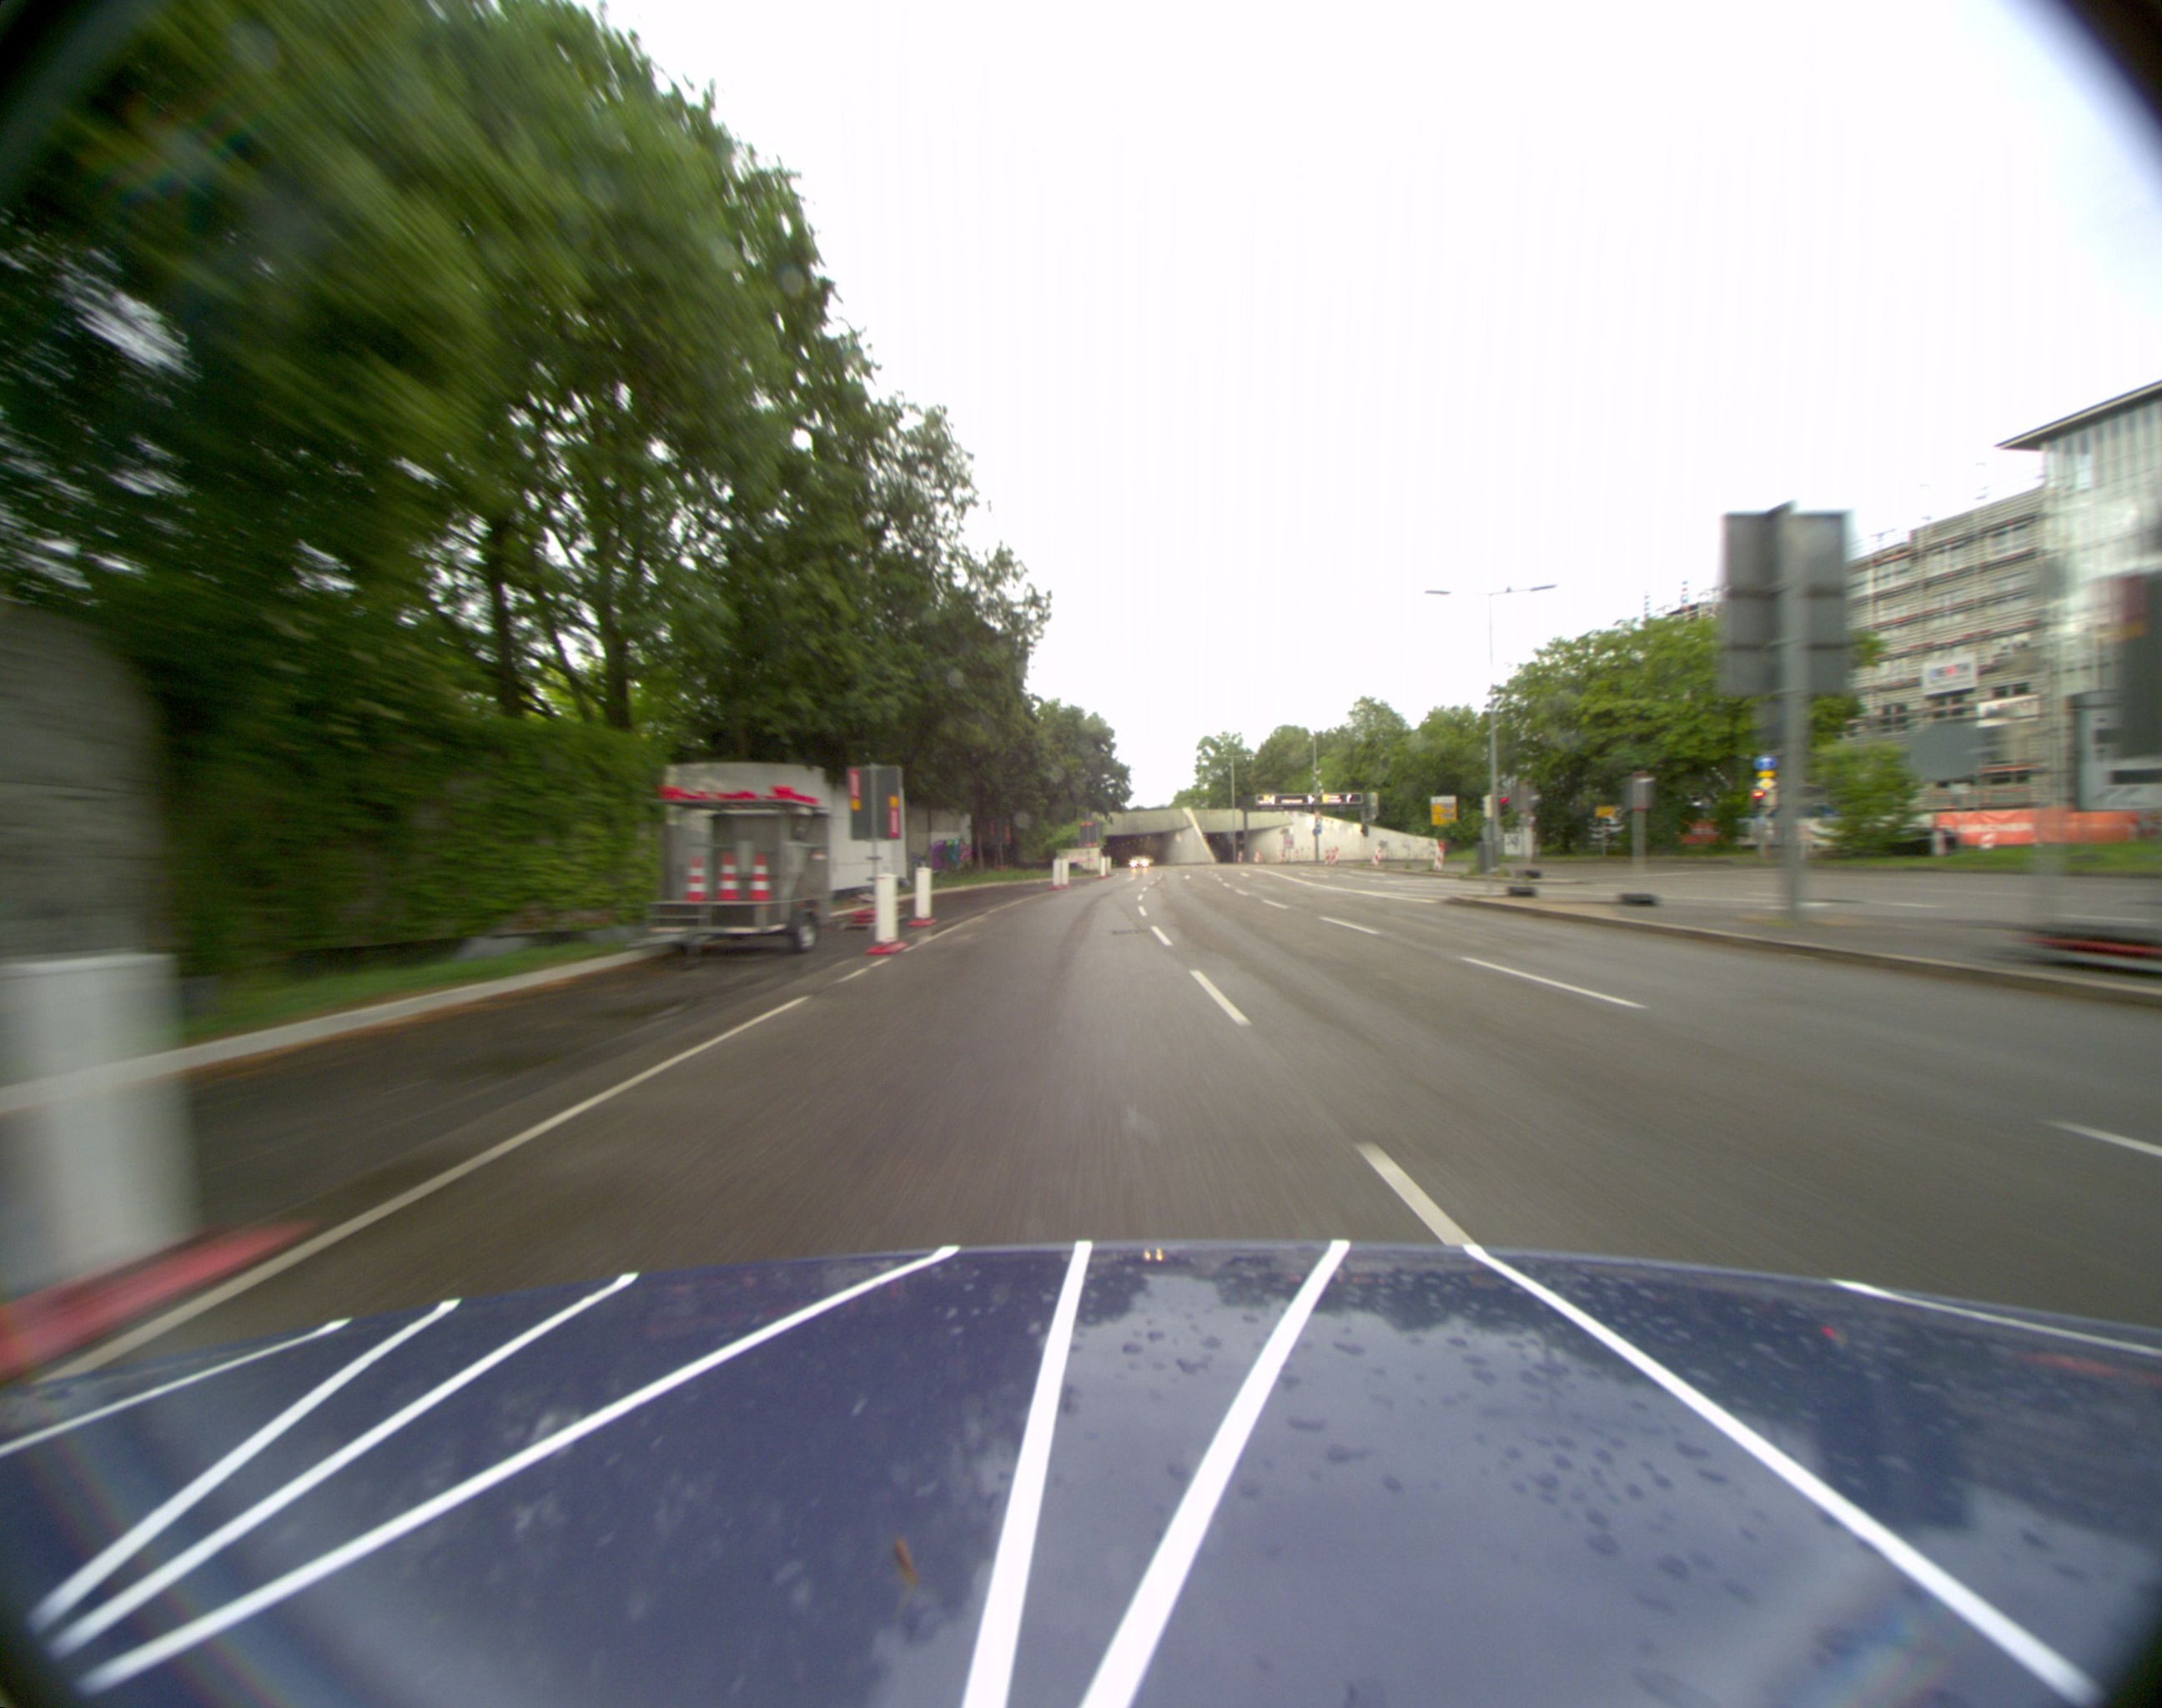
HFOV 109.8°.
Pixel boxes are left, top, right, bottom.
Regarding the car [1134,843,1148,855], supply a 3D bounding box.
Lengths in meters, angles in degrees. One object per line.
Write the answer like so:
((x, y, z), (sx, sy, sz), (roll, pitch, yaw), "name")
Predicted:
((7.457, -0.608, 94.611), (1.697, 1.393, 3.825), (-1, 1, 3), "car")

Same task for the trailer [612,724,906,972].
((-5.361, -0.134, 13.984), (2.312, 3.569, 5.961), (0, 1, 6), "trailer")

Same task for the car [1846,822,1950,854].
((38.683, -0.761, 36.019), (3.716, 1.282, 1.469), (-4, 1, -8), "car")
